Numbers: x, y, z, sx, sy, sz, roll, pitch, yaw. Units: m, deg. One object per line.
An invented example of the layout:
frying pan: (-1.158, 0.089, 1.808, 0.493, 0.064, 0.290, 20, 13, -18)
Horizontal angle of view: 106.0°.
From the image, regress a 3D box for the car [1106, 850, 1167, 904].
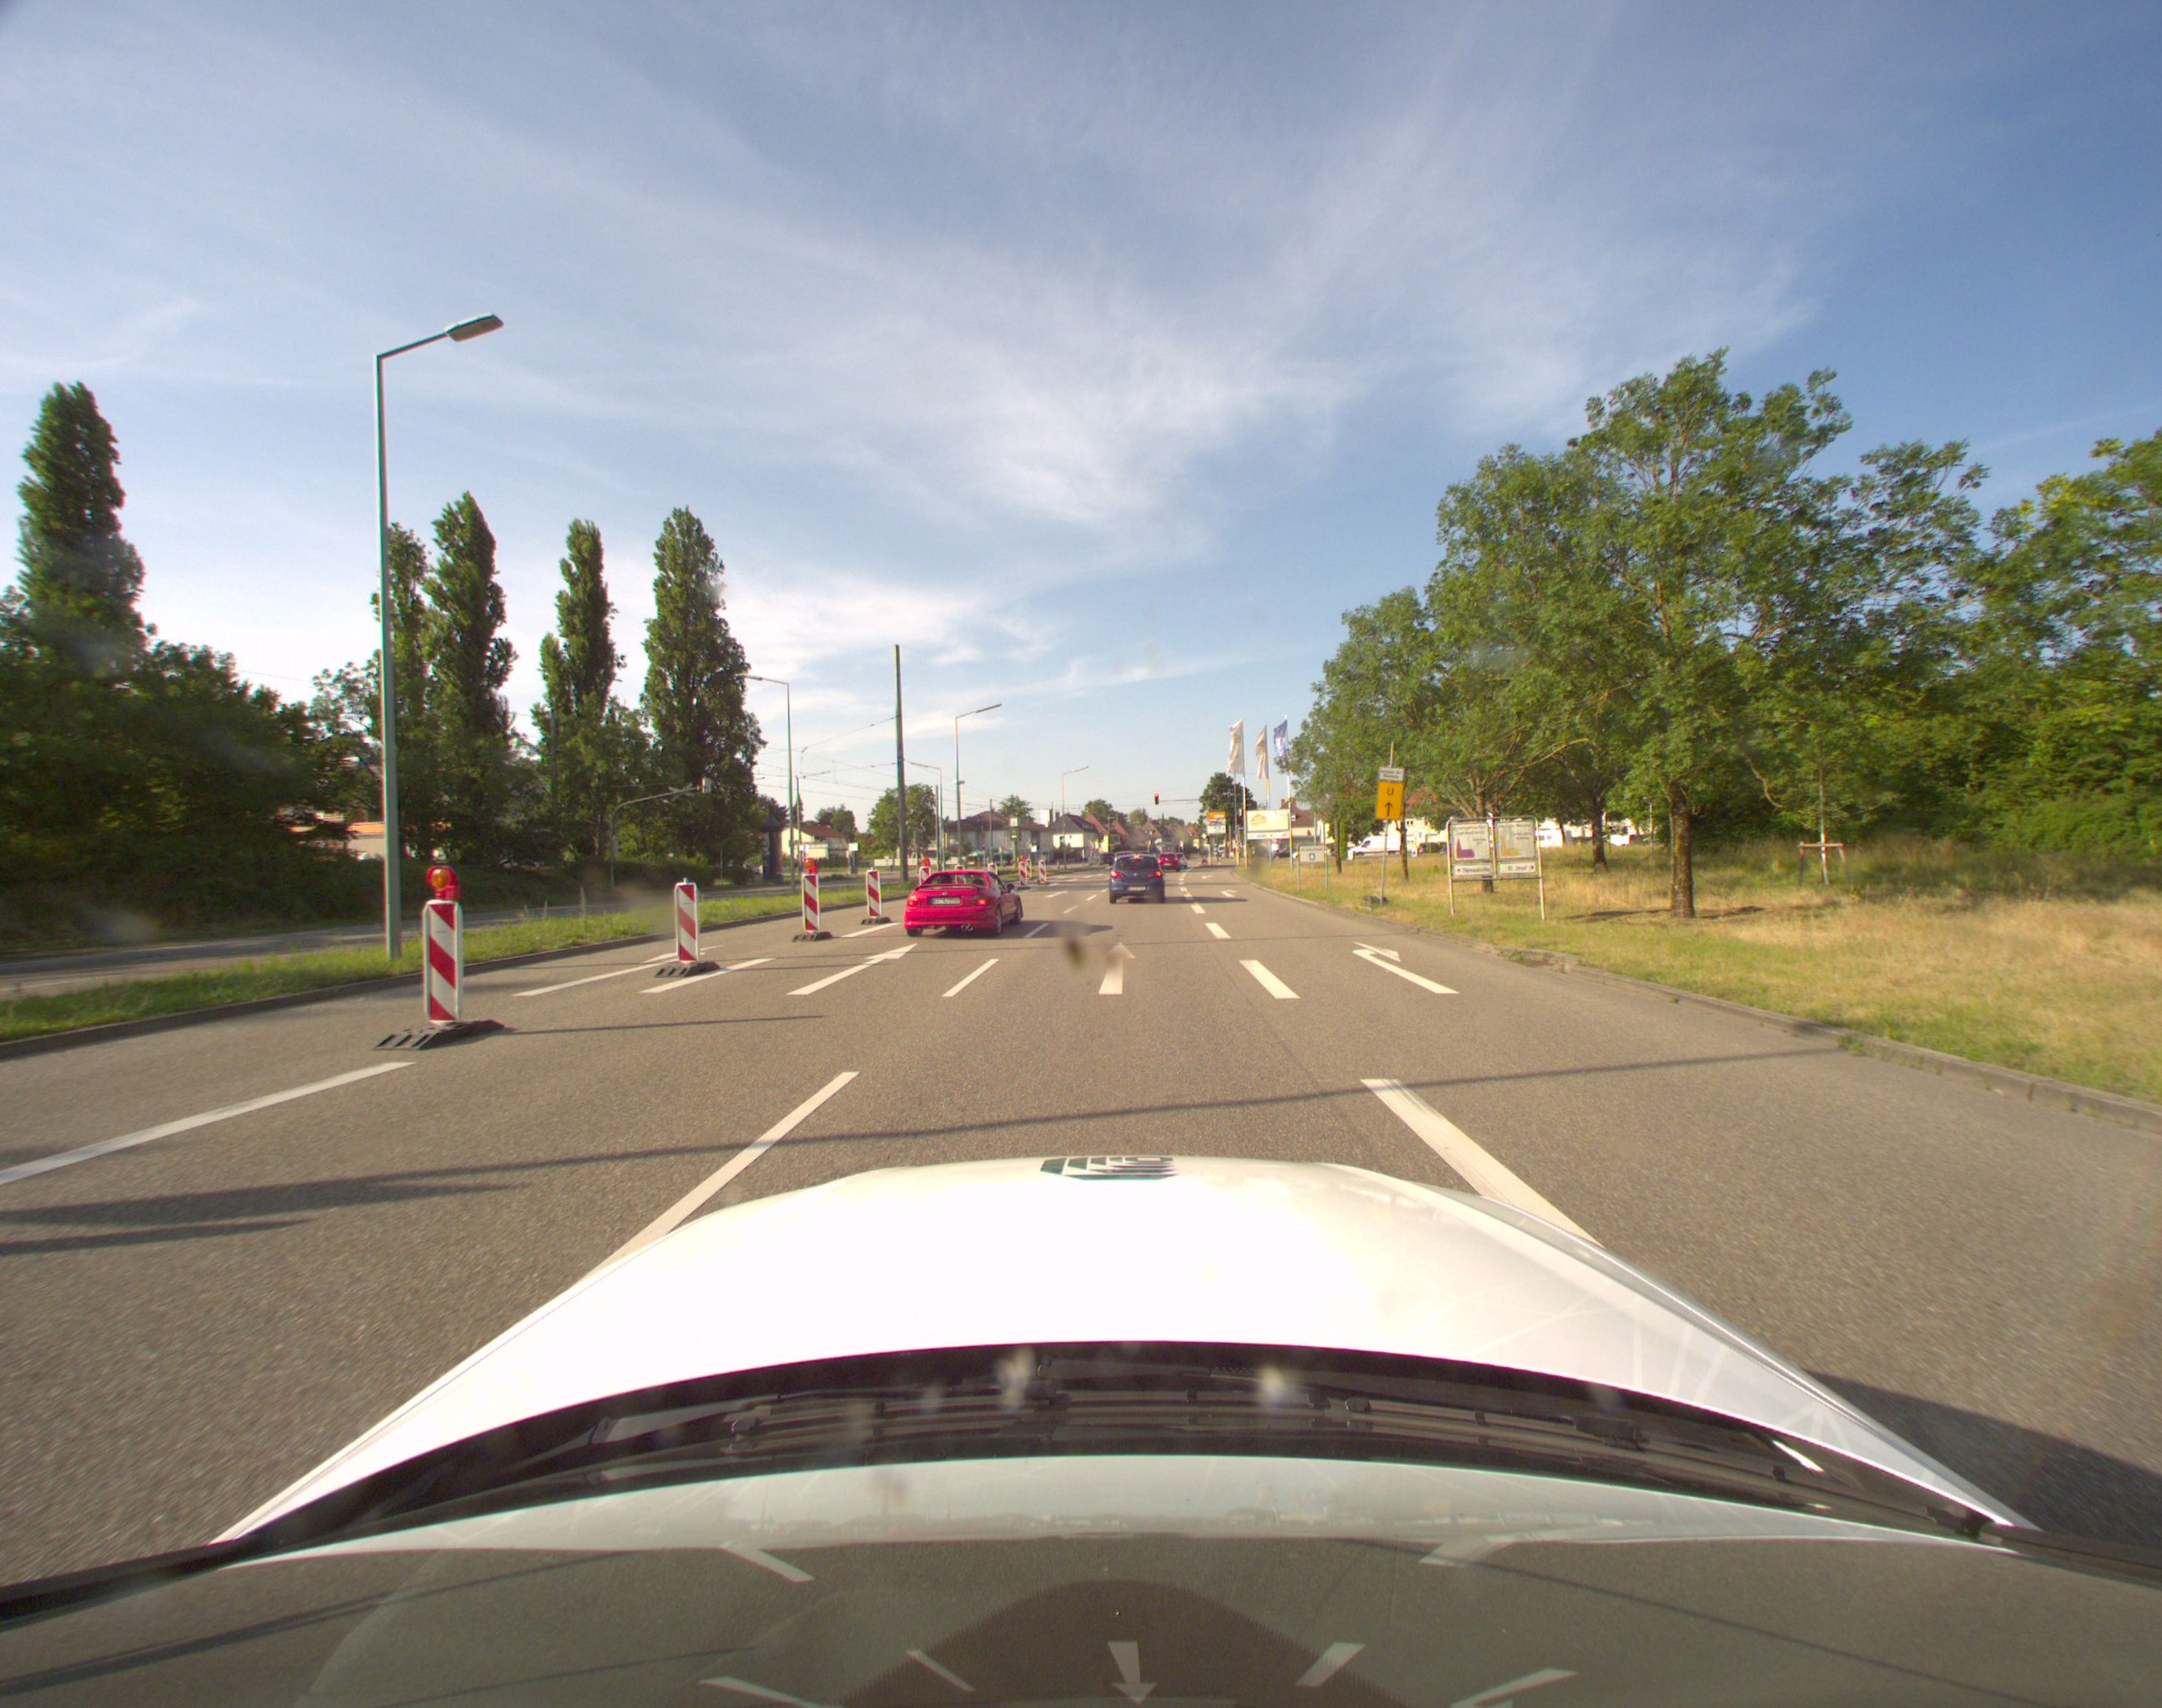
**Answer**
car: (1.706, 0.656, 26.001, 1.735, 1.505, 4.225, -2, 0, 2)

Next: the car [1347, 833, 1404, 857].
car: (35.430, -1.063, 98.067, 6.168, 2.583, 2.006, -2, 0, 11)

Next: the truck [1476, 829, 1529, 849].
truck: (56.822, -1.974, 110.039, 2.281, 2.524, 6.307, -2, 1, -24)

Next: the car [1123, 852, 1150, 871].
car: (4.802, 0.629, 69.967, 1.688, 1.508, 4.568, -1, 0, 12)

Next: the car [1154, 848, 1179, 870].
car: (6.677, 0.382, 63.348, 1.696, 1.552, 3.987, -2, 0, 8)

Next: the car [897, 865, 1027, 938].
car: (-2.213, 0.857, 16.191, 1.723, 1.206, 3.852, 0, 0, 5)

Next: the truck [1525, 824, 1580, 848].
truck: (63.068, -2.388, 109.017, 1.904, 2.854, 6.013, -2, 0, -35)

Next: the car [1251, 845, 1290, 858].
car: (24.163, -0.301, 103.896, 4.792, 1.411, 1.721, -2, 0, 11)

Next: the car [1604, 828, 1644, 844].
car: (72.304, -2.337, 108.487, 1.904, 1.920, 3.867, -2, 0, -35)

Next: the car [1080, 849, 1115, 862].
car: (1.949, 0.188, 97.988, 2.011, 1.486, 3.952, -2, 0, -42)

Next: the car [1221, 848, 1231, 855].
car: (26.462, -0.453, 148.848, 1.664, 1.398, 4.013, 0, 0, 12)

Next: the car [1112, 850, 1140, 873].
car: (3.438, 0.527, 61.803, 1.753, 1.670, 4.093, -1, 0, 8)

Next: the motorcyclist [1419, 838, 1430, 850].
motorcyclist: (40.600, -1.177, 96.188, 1.059, 1.352, 0.682, -2, 0, 10)

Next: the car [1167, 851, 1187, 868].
car: (9.027, 0.499, 76.489, 1.646, 1.443, 4.024, -2, 0, 9)

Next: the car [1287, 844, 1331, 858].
car: (27.847, -0.338, 99.474, 5.061, 1.563, 1.846, -2, 0, 11)

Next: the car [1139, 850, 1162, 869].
car: (6.643, 0.501, 77.396, 1.496, 1.651, 4.762, -2, 0, 13)
